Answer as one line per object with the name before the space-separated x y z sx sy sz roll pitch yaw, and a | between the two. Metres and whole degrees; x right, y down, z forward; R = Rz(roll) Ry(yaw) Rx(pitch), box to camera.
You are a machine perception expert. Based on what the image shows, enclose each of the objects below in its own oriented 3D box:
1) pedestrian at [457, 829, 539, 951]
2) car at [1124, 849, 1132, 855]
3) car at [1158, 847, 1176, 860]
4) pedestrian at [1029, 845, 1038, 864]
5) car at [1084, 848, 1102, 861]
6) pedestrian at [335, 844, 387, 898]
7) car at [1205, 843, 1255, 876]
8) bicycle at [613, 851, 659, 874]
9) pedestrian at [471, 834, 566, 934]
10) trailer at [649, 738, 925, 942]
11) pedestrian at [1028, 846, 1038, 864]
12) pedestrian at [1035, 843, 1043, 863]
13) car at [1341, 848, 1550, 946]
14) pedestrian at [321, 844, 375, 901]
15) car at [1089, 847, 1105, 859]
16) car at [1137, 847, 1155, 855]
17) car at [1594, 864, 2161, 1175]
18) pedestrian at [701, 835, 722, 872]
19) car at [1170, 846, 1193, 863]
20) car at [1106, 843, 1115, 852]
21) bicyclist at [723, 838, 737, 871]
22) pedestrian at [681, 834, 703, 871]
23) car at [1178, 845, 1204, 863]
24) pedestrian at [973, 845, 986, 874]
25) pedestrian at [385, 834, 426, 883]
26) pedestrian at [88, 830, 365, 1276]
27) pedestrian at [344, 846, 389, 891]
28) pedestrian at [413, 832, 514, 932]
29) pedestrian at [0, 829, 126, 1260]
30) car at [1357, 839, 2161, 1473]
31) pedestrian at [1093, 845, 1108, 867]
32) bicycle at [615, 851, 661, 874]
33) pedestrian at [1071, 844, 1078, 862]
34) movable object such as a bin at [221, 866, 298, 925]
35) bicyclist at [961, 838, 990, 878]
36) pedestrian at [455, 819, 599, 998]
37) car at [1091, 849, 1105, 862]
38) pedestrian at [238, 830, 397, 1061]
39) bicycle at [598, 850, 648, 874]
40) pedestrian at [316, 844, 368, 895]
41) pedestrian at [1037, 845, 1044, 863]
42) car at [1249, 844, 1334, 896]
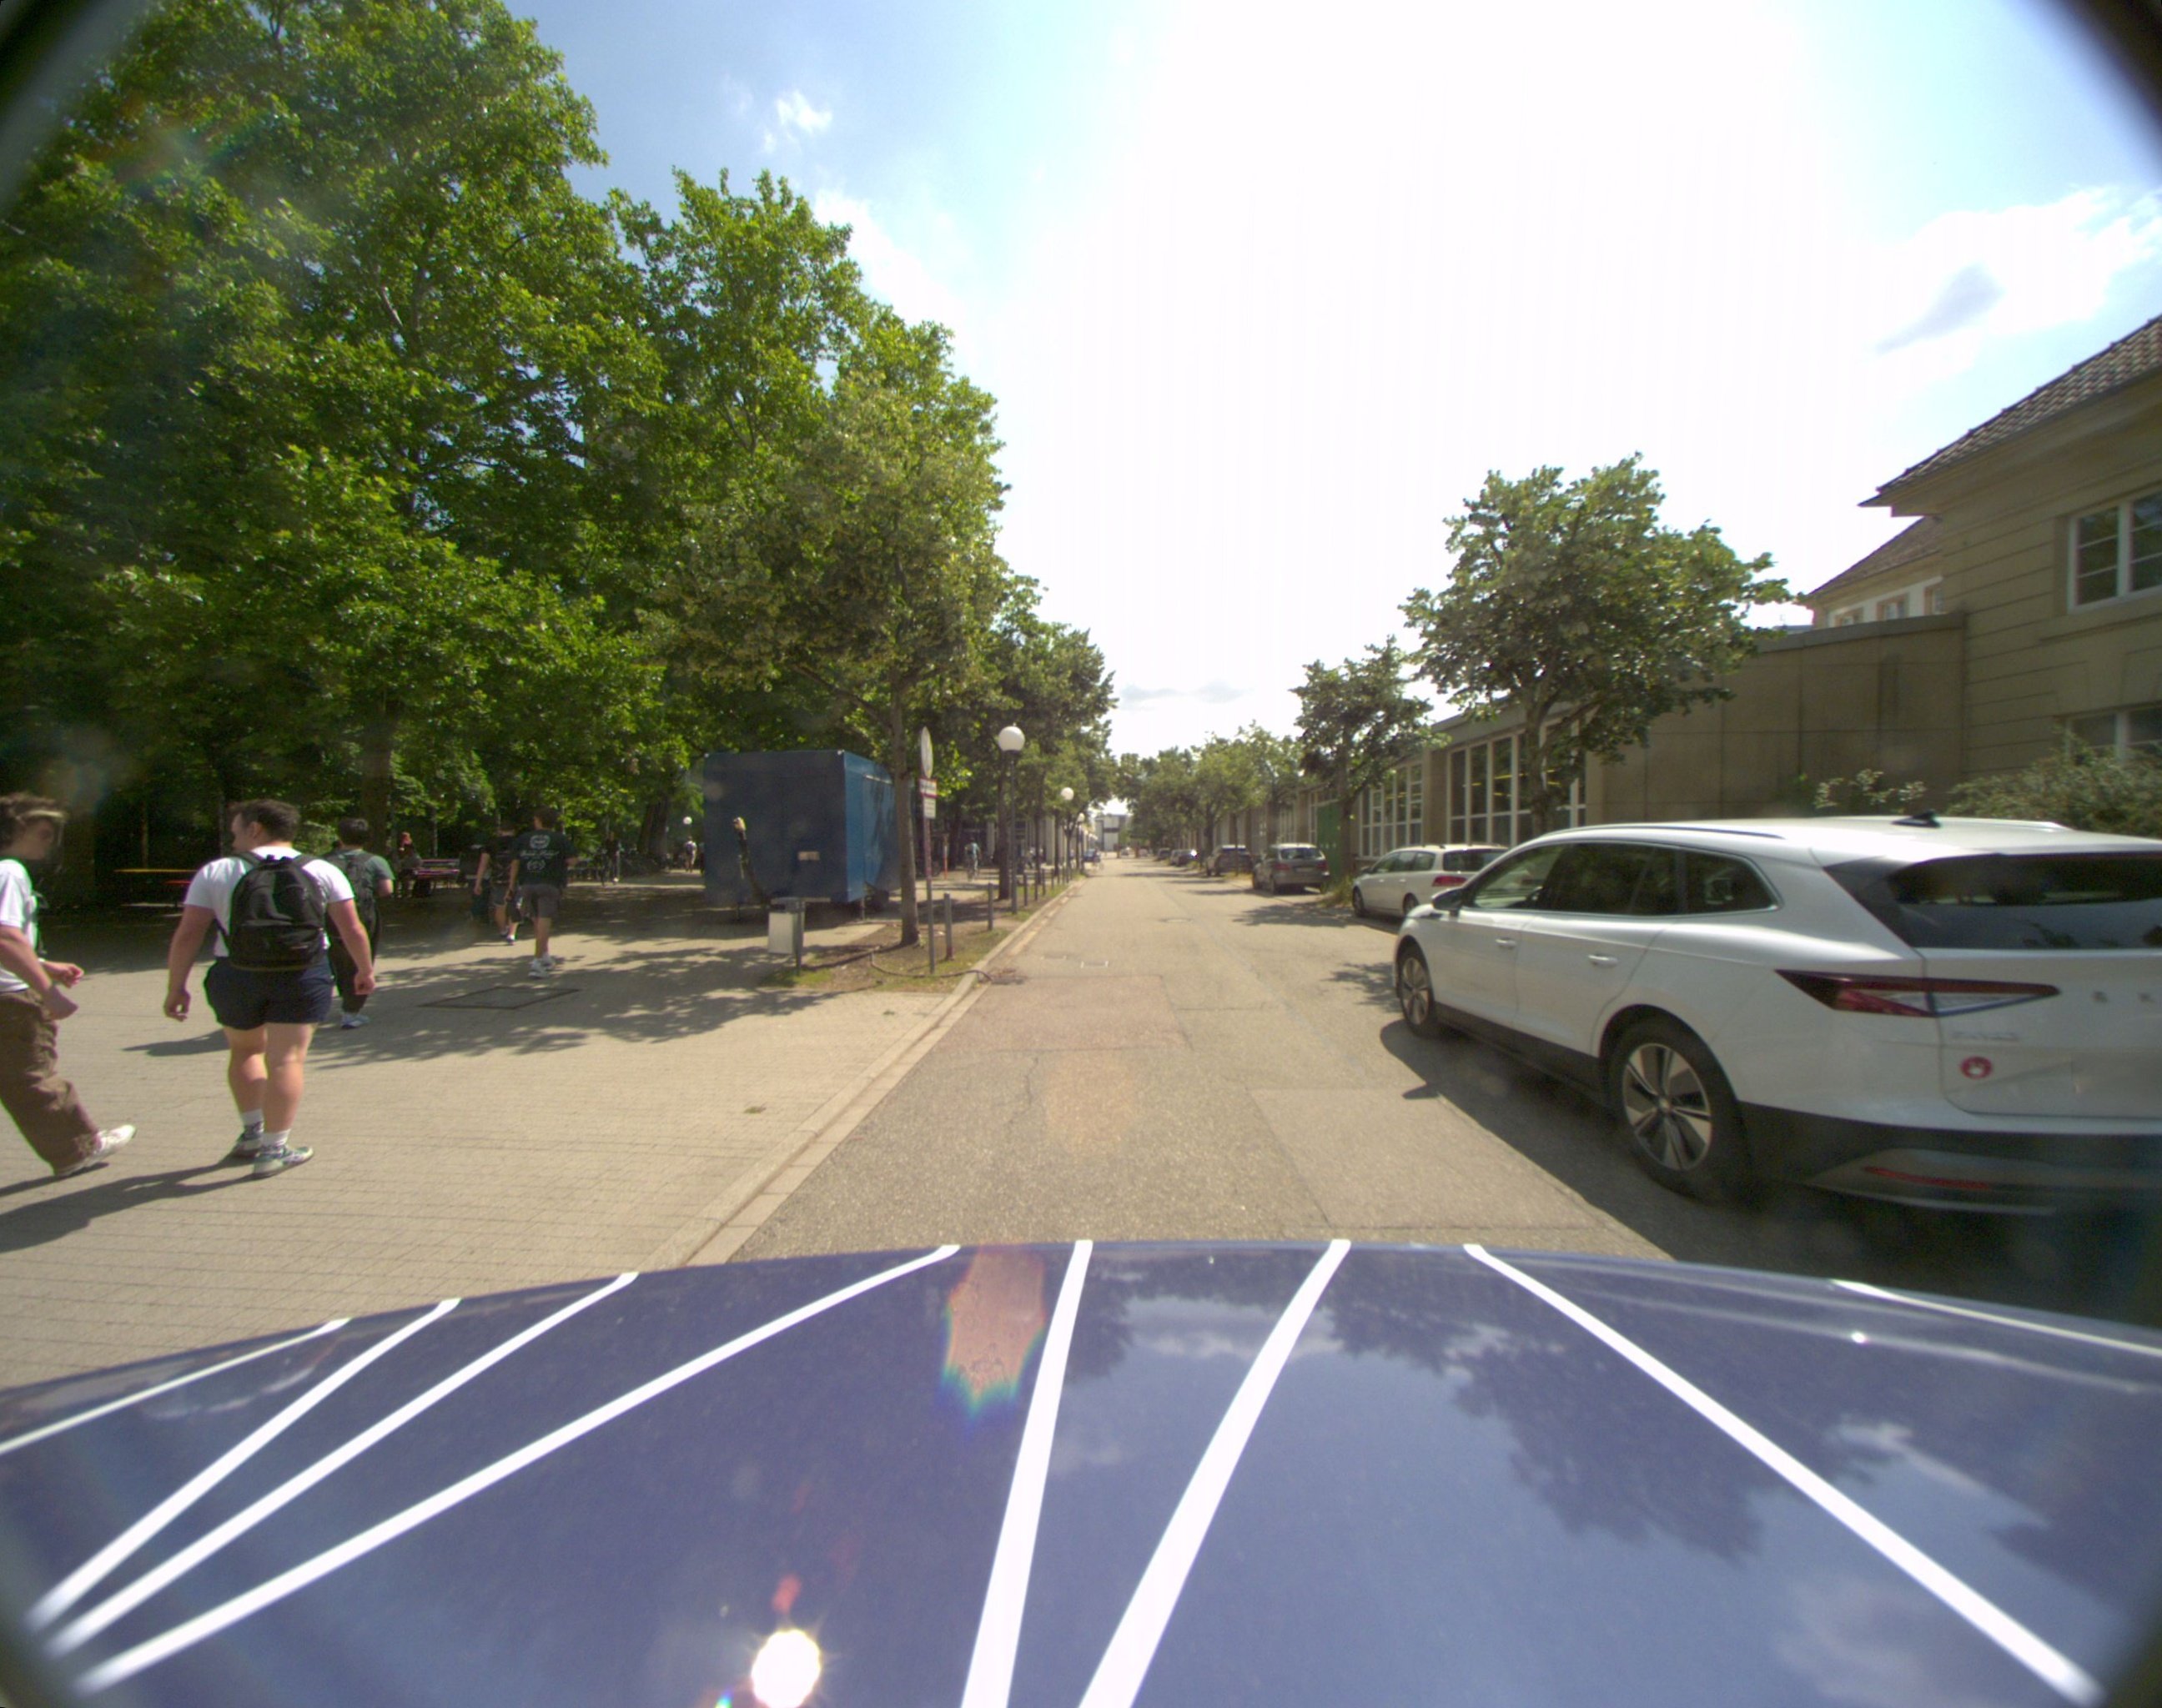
pedestrian | -8.048 0.472 10.478 0.852 1.586 0.828 0 1 -40
car | 11.369 -0.476 182.939 1.803 1.441 3.676 -3 1 2
car | 10.460 -0.036 92.434 1.803 1.441 3.676 -3 1 2
pedestrian | -4.252 0.070 68.123 0.797 1.718 0.601 0 1 0
car | 1.393 0.050 87.583 1.842 1.390 3.879 1 0 3
pedestrian | -18.319 0.429 19.339 0.571 1.339 0.729 3 0 -1
car | 7.966 0.256 41.029 1.826 1.623 4.516 -2 1 0
bicycle | -20.200 0.378 34.520 1.755 1.033 0.347 1 1 -18
pedestrian | -9.527 0.484 12.919 0.877 1.629 0.949 0 1 3
trailer | -5.094 -0.243 14.601 2.698 3.034 6.257 1 1 2
pedestrian | -4.245 0.068 67.403 0.797 1.533 0.664 0 1 0
pedestrian | -3.830 -0.094 69.258 0.687 1.880 0.686 -1 2 0
car | 6.484 0.654 14.168 1.729 1.448 4.583 -2 1 1
pedestrian | -17.859 0.449 18.524 0.571 1.339 0.729 3 0 -1
car | 1.965 -0.120 93.851 1.842 1.390 3.879 1 0 3
car | 13.901 -0.710 162.242 3.673 1.441 1.804 -3 1 1
car | 5.975 0.824 5.652 1.729 1.336 4.166 -2 0 4
pedestrian | -19.794 -0.023 40.734 0.836 1.937 1.077 1 1 -17
car | 9.274 0.052 70.278 1.633 1.441 3.753 -3 1 2
car | 6.797 -1.495 175.489 1.998 2.002 4.001 3 0 3
bicyclist | -18.955 0.017 41.014 0.532 1.719 1.077 1 1 -17
pedestrian | -20.716 -0.068 40.452 0.836 1.937 1.077 1 1 -17
car | 9.288 0.017 64.555 1.729 1.427 4.290 -2 0 2
pedestrian | -5.784 0.286 43.355 0.569 1.563 0.927 2 5 3
pedestrian | -22.522 0.155 25.352 0.719 1.572 0.668 3 0 -10
pedestrian | -3.853 0.764 3.529 0.702 1.729 0.980 -1 3 -41
pedestrian | -20.933 0.426 22.273 0.668 1.264 0.622 3 0 -1
pedestrian | -10.422 0.450 12.859 0.877 1.629 0.949 0 2 3
pedestrian | -4.673 0.757 3.031 0.679 1.729 0.907 1 1 -19
car | 3.298 0.783 4.281 1.922 1.610 4.520 -3 1 2
pedestrian | 1.532 0.152 60.228 0.935 1.730 0.751 0 2 37
bicycle | -20.312 0.374 34.862 1.755 1.033 0.478 1 1 -18
pedestrian | -0.654 -0.092 73.765 0.613 1.719 0.542 0 1 4
movable object such as a bin | -15.684 0.774 14.524 0.600 1.065 0.742 0 3 4
bicyclist | -4.285 0.151 30.936 0.651 1.558 1.197 3 2 17
pedestrian | -6.104 0.544 8.458 0.855 1.849 1.114 -1 3 -13
car | 2.418 0.224 108.723 1.798 1.691 4.001 3 0 3
pedestrian | -6.221 0.682 6.250 0.705 1.710 0.991 1 2 -32
bicycle | -20.234 0.342 33.613 1.834 1.033 0.478 1 1 -18
pedestrian | -20.003 0.409 20.582 0.668 1.339 0.719 3 0 -1
pedestrian | -3.757 0.005 70.453 0.613 1.719 0.542 0 1 4
car | 6.965 0.474 25.542 1.761 1.547 4.113 -2 1 1
